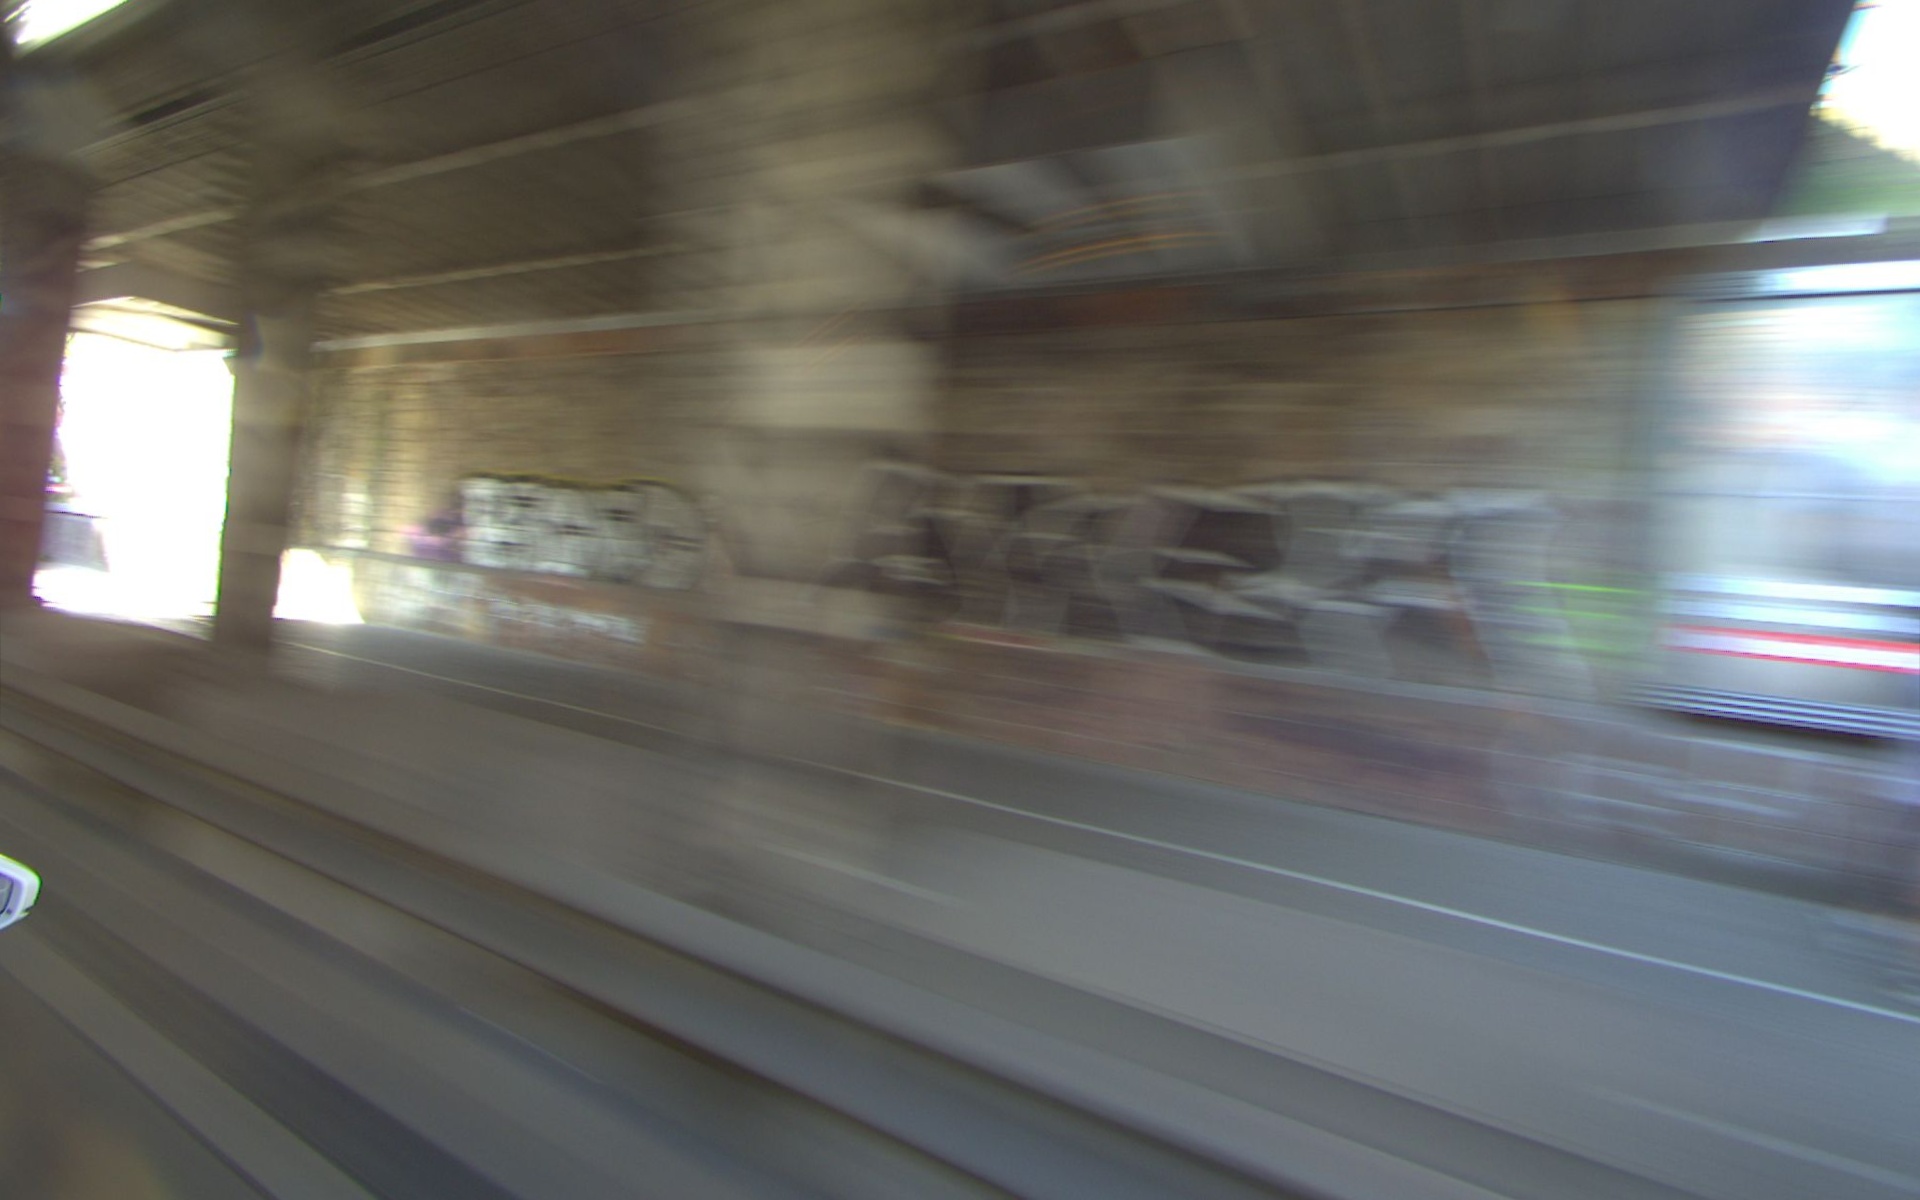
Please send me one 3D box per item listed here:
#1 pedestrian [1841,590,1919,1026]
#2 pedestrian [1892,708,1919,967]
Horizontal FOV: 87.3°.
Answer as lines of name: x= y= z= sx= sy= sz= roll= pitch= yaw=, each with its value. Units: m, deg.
pedestrian: x=4.672 y=0.920 z=4.390 sx=0.907 sy=1.858 sz=0.881 roll=6 pitch=1 yaw=28
pedestrian: x=5.437 y=1.111 z=4.969 sx=0.871 sy=1.677 sz=0.917 roll=6 pitch=1 yaw=28
